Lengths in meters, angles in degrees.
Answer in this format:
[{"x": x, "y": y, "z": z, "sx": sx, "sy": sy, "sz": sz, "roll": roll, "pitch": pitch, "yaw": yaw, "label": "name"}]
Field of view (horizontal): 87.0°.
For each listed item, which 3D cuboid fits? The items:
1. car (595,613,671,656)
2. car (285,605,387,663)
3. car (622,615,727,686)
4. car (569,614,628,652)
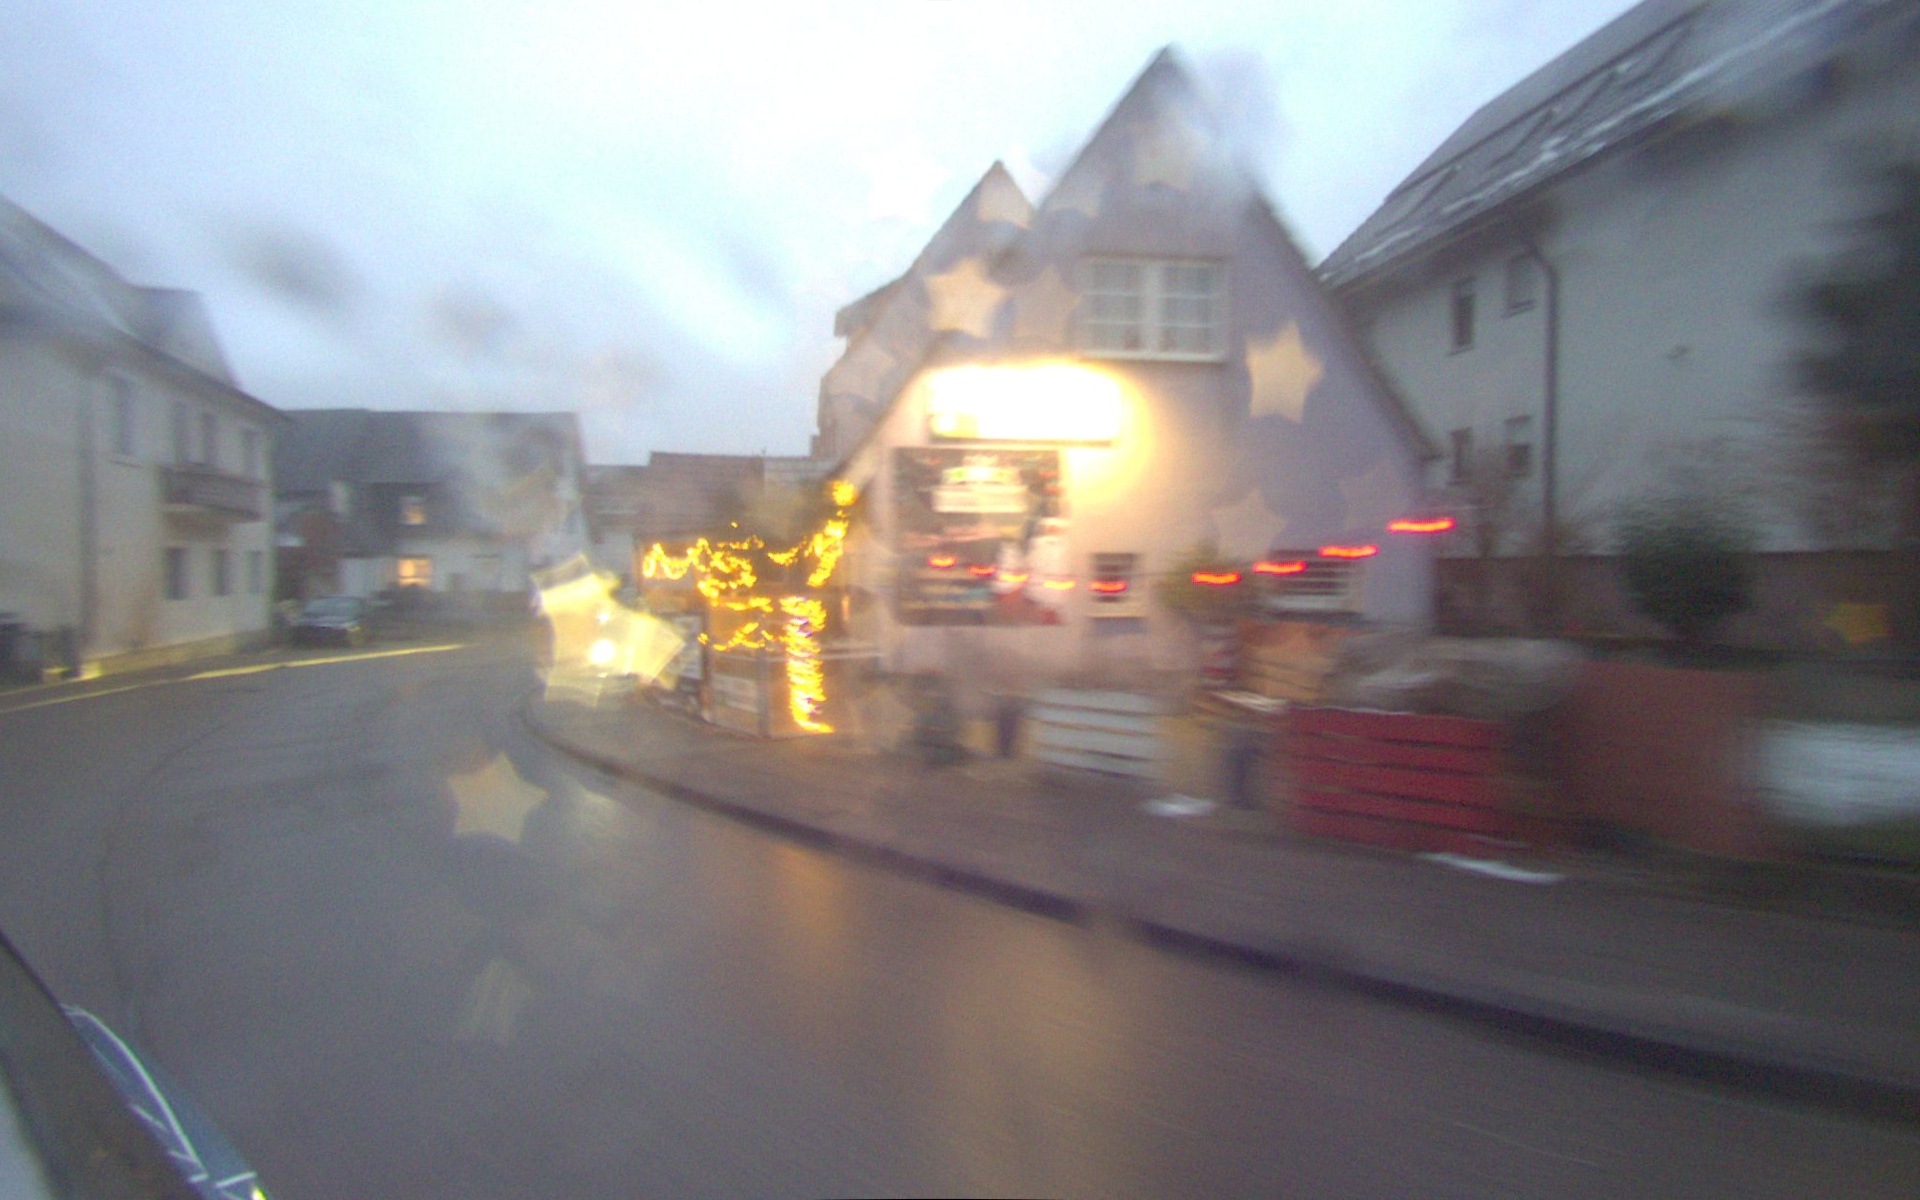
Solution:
[{"x": -13.782, "y": 1.427, "z": 42.920, "sx": 1.963, "sy": 1.569, "sz": 4.238, "roll": -1, "pitch": 1, "yaw": -2, "label": "car"}, {"x": -19.556, "y": 1.022, "z": 31.906, "sx": 1.781, "sy": 1.498, "sz": 4.292, "roll": 2, "pitch": 1, "yaw": -19, "label": "car"}, {"x": -6.856, "y": 1.157, "z": 24.677, "sx": 1.600, "sy": 1.432, "sz": 3.806, "roll": -1, "pitch": 1, "yaw": -2, "label": "car"}, {"x": -16.534, "y": 1.478, "z": 46.425, "sx": 1.618, "sy": 1.505, "sz": 4.005, "roll": -2, "pitch": 1, "yaw": -6, "label": "car"}]
